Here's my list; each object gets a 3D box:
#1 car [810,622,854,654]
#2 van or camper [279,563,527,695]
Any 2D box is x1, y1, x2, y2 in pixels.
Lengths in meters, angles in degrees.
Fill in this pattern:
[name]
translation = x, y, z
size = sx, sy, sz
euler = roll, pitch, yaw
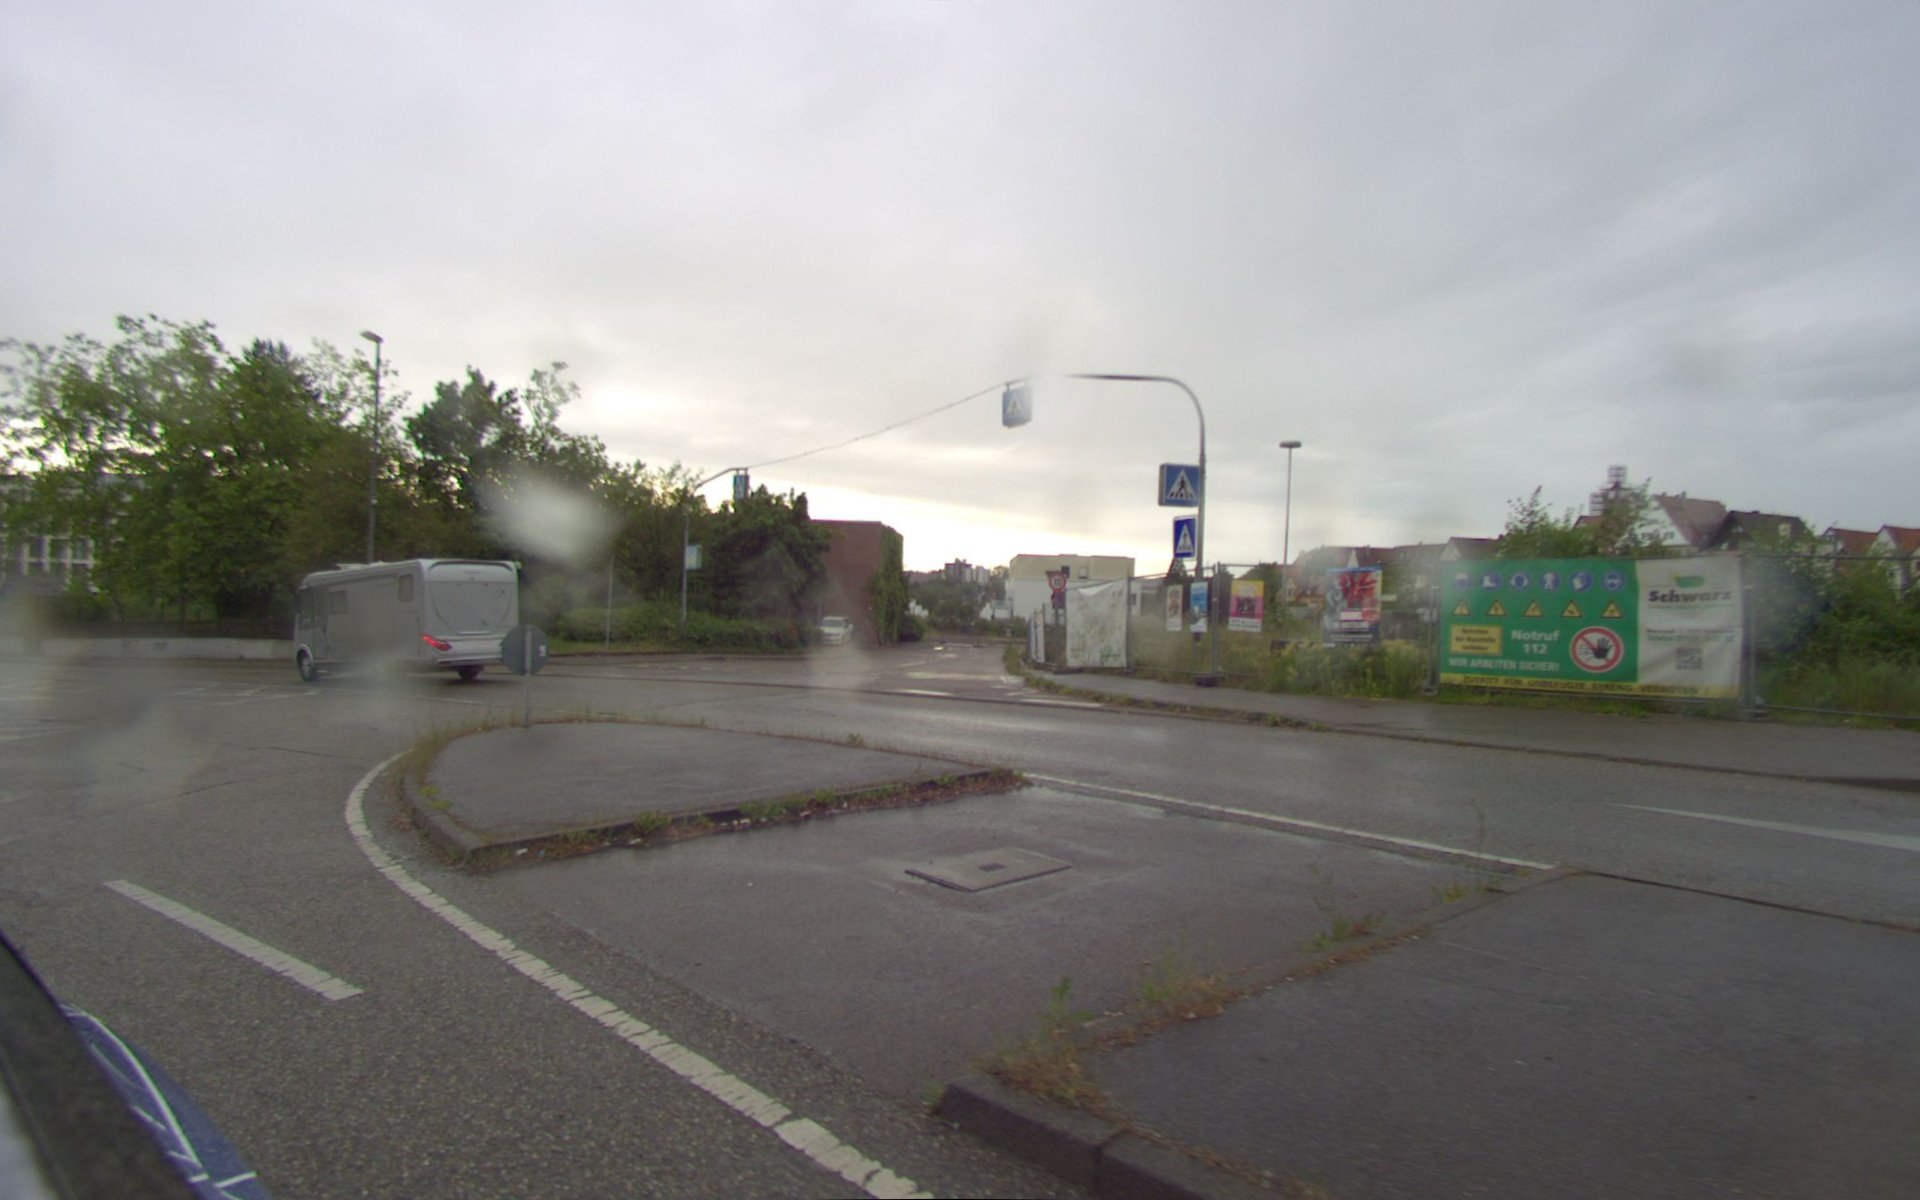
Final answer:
[car]
translation = -6.923, 2.066, 55.209
size = 1.679, 1.619, 4.290
euler = 0, -1, 2
[van or camper]
translation = -13.097, 0.652, 23.551
size = 7.006, 2.676, 2.346
euler = -1, -1, 36
